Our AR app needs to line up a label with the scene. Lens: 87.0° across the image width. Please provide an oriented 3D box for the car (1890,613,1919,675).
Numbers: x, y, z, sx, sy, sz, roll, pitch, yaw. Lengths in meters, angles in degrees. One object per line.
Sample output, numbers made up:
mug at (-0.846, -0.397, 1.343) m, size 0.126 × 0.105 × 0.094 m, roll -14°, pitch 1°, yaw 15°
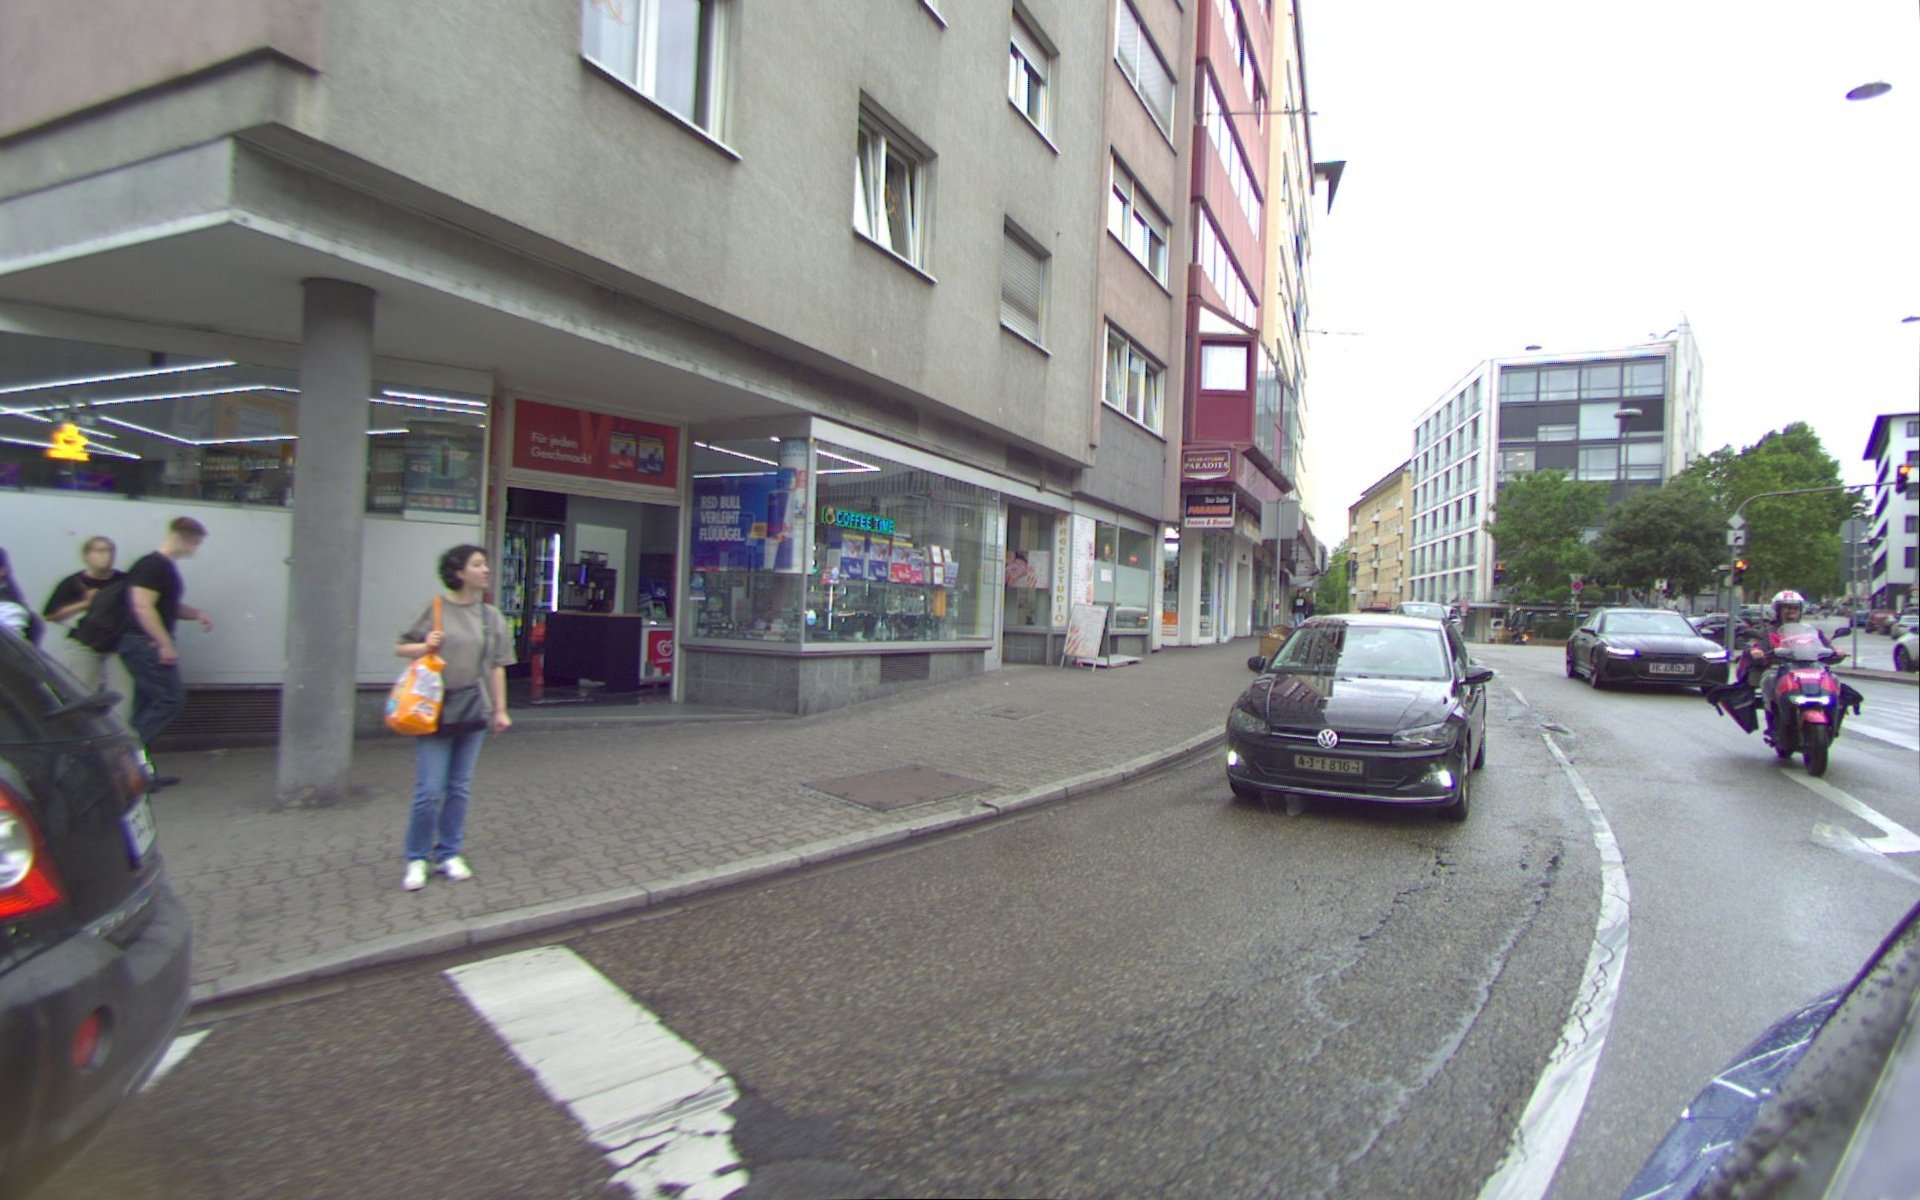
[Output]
car at (25.150, 1.098, 24.741) m, size 1.975 × 1.572 × 4.397 m, roll -1°, pitch -2°, yaw 20°

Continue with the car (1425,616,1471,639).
car at (33.414, 1.897, 69.383) m, size 1.945 × 1.406 × 3.983 m, roll 3°, pitch -1°, yaw 13°

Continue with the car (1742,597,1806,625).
car at (69.087, 0.919, 85.946) m, size 1.947 × 2.294 × 3.836 m, roll 0°, pitch -1°, yaw -34°

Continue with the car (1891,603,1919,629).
car at (67.305, 1.159, 71.557) m, size 2.018 × 1.772 × 4.545 m, roll -1°, pitch -2°, yaw 41°

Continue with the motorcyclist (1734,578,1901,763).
motorcyclist at (8.102, 0.627, 9.632) m, size 1.086 × 1.625 × 0.941 m, roll 0°, pitch -1°, yaw 34°

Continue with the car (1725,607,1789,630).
car at (57.564, 1.357, 73.124) m, size 3.533 × 1.579 × 1.713 m, roll -1°, pitch -1°, yaw 43°

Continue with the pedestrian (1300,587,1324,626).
pedestrian at (15.646, 0.302, 45.001) m, size 0.741 × 1.745 × 0.752 m, roll 2°, pitch -3°, yaw -44°

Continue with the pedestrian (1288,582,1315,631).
pedestrian at (12.998, 0.255, 38.558) m, size 0.827 × 1.787 × 0.614 m, roll 5°, pitch -2°, yaw 18°

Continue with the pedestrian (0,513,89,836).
pedestrian at (-5.475, 0.384, 5.723) m, size 0.833 × 1.743 × 0.610 m, roll 2°, pitch 3°, yaw 34°

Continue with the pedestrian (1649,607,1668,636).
pedestrian at (44.732, 1.411, 64.838) m, size 0.778 × 1.838 × 0.589 m, roll -1°, pitch -3°, yaw 17°

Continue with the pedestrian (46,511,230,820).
pedestrian at (-5.376, 0.402, 6.677) m, size 0.652 × 1.890 × 0.840 m, roll 0°, pitch -1°, yaw -17°

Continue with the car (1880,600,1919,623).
car at (71.396, 0.888, 76.832) m, size 1.924 × 1.693 × 4.382 m, roll -1°, pitch -2°, yaw 39°

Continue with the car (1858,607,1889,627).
car at (88.042, 1.674, 97.545) m, size 2.018 × 1.865 × 3.985 m, roll -1°, pitch -2°, yaw 40°

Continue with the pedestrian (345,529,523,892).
pedestrian at (-2.702, 0.506, 5.215) m, size 0.766 × 1.713 × 0.629 m, roll 0°, pitch 2°, yaw -29°

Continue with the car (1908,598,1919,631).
car at (62.300, 0.914, 64.410) m, size 2.082 × 2.118 × 4.558 m, roll -1°, pitch -2°, yaw 33°

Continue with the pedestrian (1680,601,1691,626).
pedestrian at (54.737, 1.021, 76.359) m, size 0.590 × 1.838 × 0.693 m, roll -3°, pitch -4°, yaw 42°

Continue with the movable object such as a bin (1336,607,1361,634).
movable object such as a bin at (14.926, 0.777, 38.909) m, size 0.659 × 0.945 × 0.533 m, roll 5°, pitch 1°, yaw -30°

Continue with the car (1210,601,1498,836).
car at (3.532, 0.766, 8.619) m, size 1.729 × 1.448 × 3.839 m, roll 2°, pitch 1°, yaw 30°

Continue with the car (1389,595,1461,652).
car at (13.989, 0.690, 30.520) m, size 1.852 × 1.567 × 4.068 m, roll -1°, pitch -1°, yaw 24°

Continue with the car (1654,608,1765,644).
car at (35.938, 1.237, 48.599) m, size 3.920 × 1.705 × 2.002 m, roll 0°, pitch -1°, yaw -5°

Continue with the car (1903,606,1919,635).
car at (58.048, 1.237, 60.674) m, size 1.994 × 1.652 × 4.544 m, roll -1°, pitch -2°, yaw 41°

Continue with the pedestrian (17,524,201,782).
pedestrian at (-5.939, 0.322, 7.094) m, size 0.612 × 1.656 × 0.830 m, roll 5°, pitch 5°, yaw 30°

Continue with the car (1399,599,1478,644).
car at (18.386, 0.813, 38.775) m, size 1.988 × 1.604 × 4.048 m, roll 0°, pitch -1°, yaw 37°

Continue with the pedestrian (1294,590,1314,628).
pedestrian at (16.500, 0.443, 48.591) m, size 0.776 × 1.786 × 0.616 m, roll 2°, pitch -3°, yaw -44°

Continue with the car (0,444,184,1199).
car at (-3.761, 0.609, 1.337) m, size 4.220 × 1.809 × 1.913 m, roll 1°, pitch -2°, yaw -36°

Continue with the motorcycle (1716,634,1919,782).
motorcycle at (8.160, 0.946, 9.746) m, size 1.305 × 1.149 × 2.158 m, roll 0°, pitch 0°, yaw 34°

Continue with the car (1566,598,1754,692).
car at (12.896, 0.745, 18.988) m, size 1.978 × 1.510 × 4.697 m, roll 1°, pitch 0°, yaw 23°
